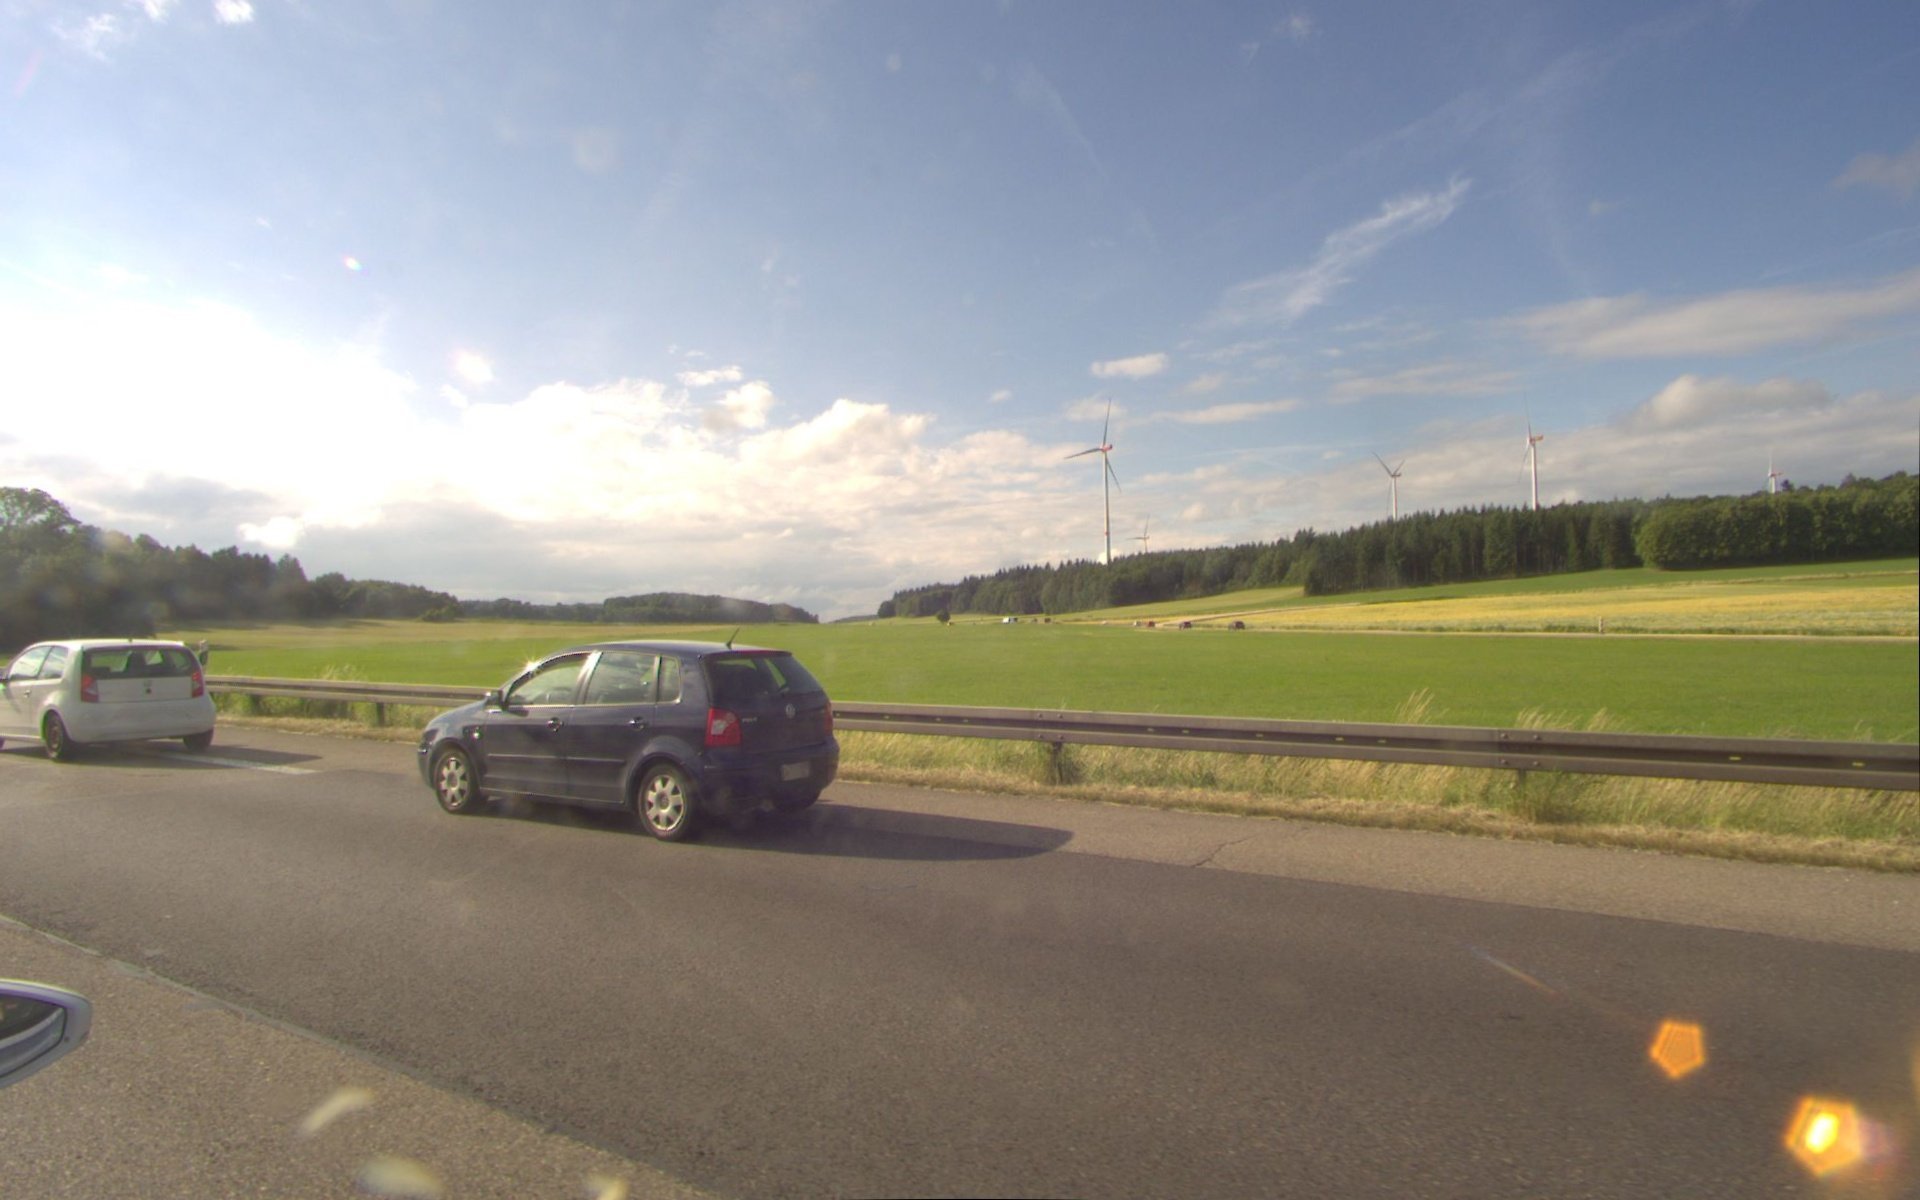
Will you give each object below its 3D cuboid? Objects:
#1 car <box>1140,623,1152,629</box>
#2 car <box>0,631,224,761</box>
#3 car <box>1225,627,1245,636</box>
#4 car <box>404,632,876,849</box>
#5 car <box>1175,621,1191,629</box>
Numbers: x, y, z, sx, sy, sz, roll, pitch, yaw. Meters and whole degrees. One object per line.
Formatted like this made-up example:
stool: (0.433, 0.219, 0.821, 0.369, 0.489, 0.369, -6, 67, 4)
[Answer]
car: (45.326, 6.332, 243.697, 1.803, 1.505, 4.221, 0, -2, -6)
car: (-11.484, 1.177, 13.283, 3.327, 1.514, 1.547, -1, -2, 30)
car: (45.674, 5.262, 166.267, 1.803, 1.505, 4.221, 0, -2, -6)
car: (-2.729, 1.021, 8.426, 3.717, 1.464, 1.709, -2, -2, 29)
car: (44.078, 5.030, 198.212, 1.803, 1.505, 4.221, 0, -2, -6)
